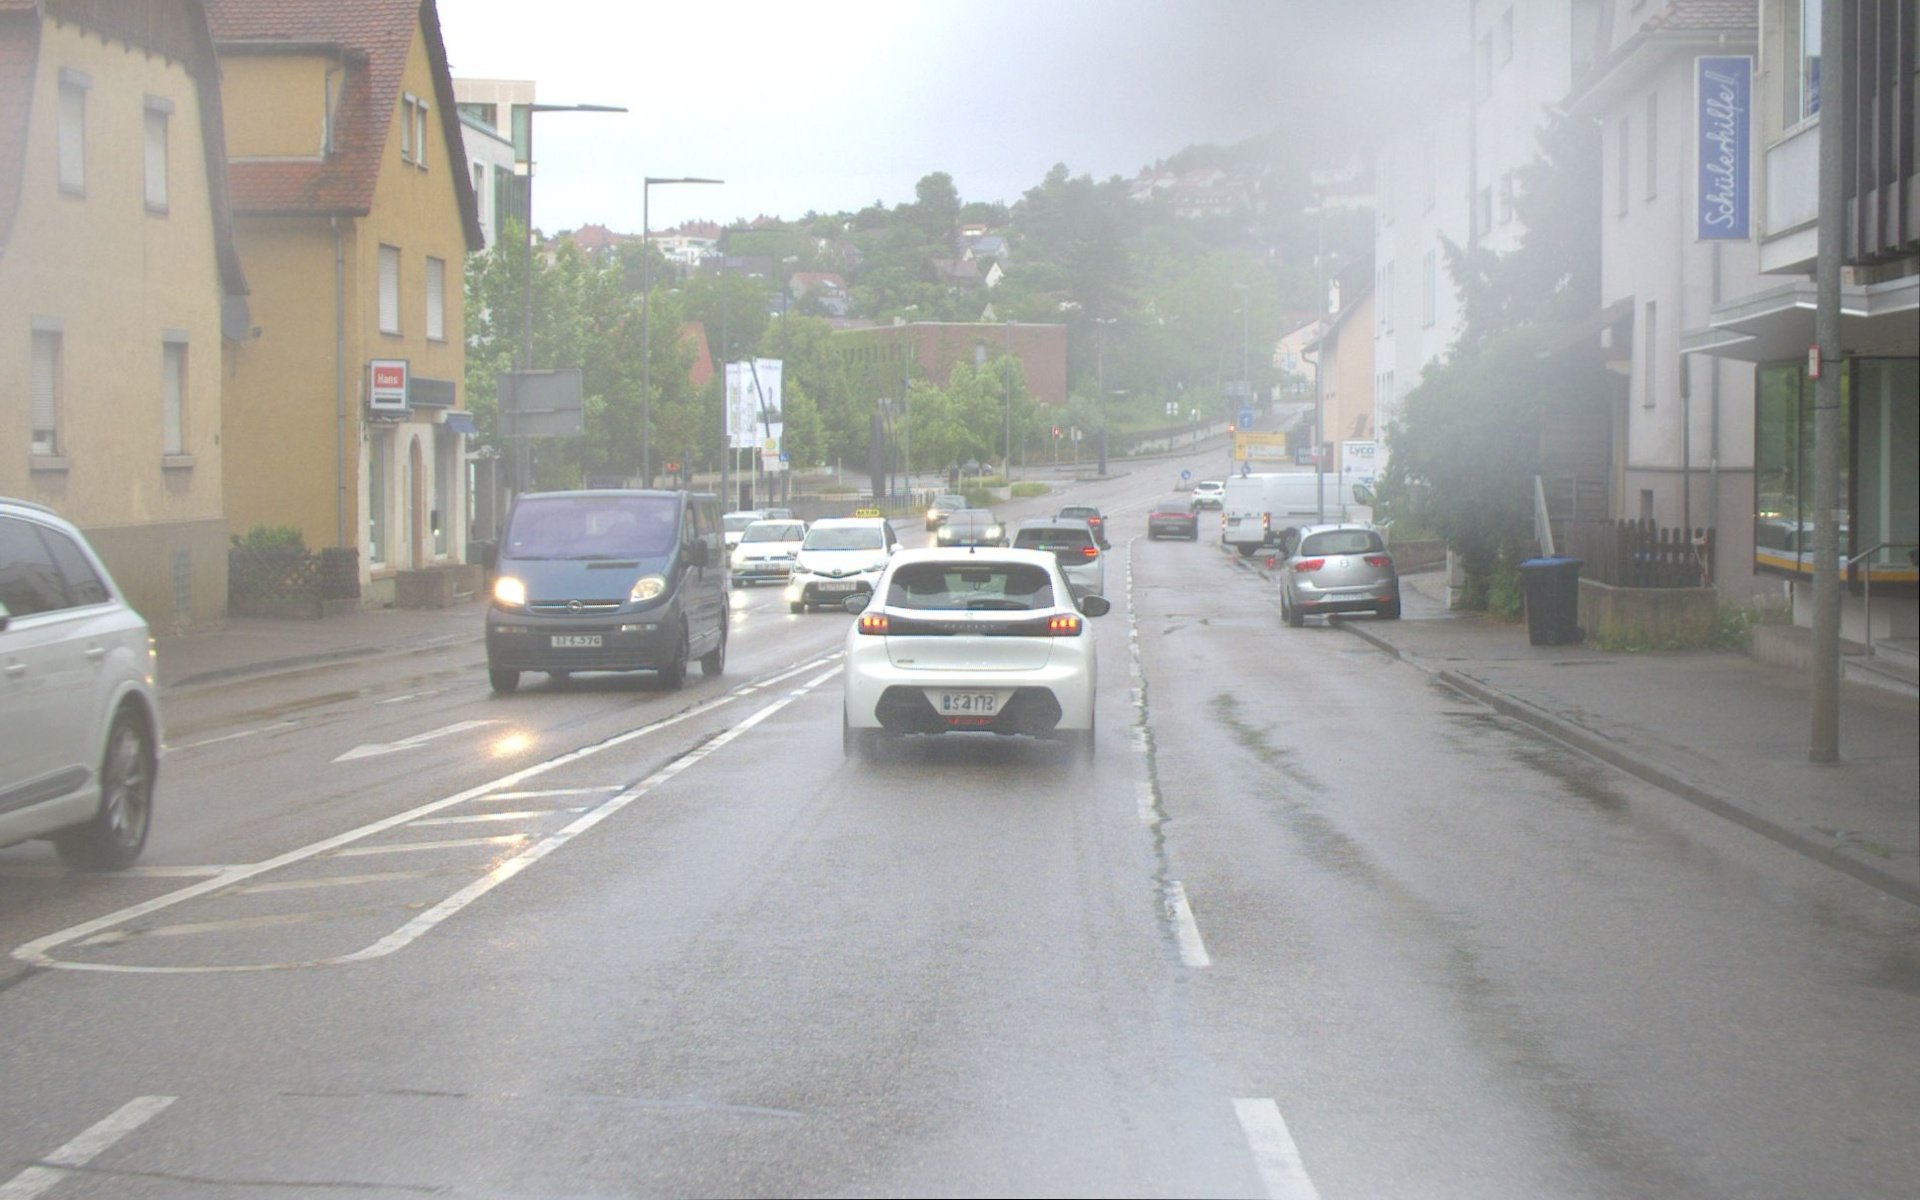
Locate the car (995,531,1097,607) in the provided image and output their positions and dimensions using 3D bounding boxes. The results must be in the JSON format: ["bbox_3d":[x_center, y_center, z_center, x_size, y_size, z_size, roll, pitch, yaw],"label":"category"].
[{"bbox_3d":[1.558,-0.570,61.181,1.741,1.291,3.334,0,1,3],"label":"car"}]

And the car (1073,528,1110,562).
[{"bbox_3d":[4.629,-1.938,121.070,1.213,1.152,2.270,0,0,1],"label":"car"}]

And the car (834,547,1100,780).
[{"bbox_3d":[0.123,0.407,24.321,1.691,1.514,3.932,0,0,3],"label":"car"}]

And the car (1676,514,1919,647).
[{"bbox_3d":[10.353,-0.244,41.558,1.351,1.497,3.340,-4,2,-31],"label":"car"}]

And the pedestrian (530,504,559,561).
[{"bbox_3d":[-12.597,-2.043,104.257,0.808,1.732,1.003,0,0,-2],"label":"pedestrian"}]

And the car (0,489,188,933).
[{"bbox_3d":[-4.735,0.431,13.868,2.098,1.706,4.849,0,0,1],"label":"car"}]

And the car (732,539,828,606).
[{"bbox_3d":[-4.034,-0.620,77.707,1.649,1.413,4.138,-2,0,4],"label":"car"}]

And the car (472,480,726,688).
[{"bbox_3d":[-3.550,-0.161,34.701,1.965,1.931,5.179,0,0,1],"label":"car"}]

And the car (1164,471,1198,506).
[{"bbox_3d":[13.252,-6.675,206.636,1.994,2.007,4.000,0,0,3],"label":"car"}]

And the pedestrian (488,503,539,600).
[{"bbox_3d":[-8.267,-0.890,63.679,0.800,1.782,0.882,0,0,2],"label":"pedestrian"}]

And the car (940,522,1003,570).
[{"bbox_3d":[0.378,-1.657,106.295,1.768,1.409,4.525,0,0,2],"label":"car"}]

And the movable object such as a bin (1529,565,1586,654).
[{"bbox_3d":[7.336,0.117,42.227,0.576,1.044,0.830,-1,2,3],"label":"movable object such as a bin"}]

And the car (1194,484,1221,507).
[{"bbox_3d":[12.988,-5.474,180.598,1.385,1.122,2.610,0,0,3],"label":"car"}]

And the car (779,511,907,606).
[{"bbox_3d":[-1.997,-0.711,60.059,1.878,1.603,4.718,0,0,2],"label":"car"}]

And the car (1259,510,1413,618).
[{"bbox_3d":[5.997,-0.545,55.220,2.011,1.616,4.360,1,-1,1],"label":"car"}]

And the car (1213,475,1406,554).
[{"bbox_3d":[10.901,-2.620,106.824,2.297,2.374,6.608,0,0,45],"label":"car"}]

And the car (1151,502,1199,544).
[{"bbox_3d":[8.406,-3.025,134.772,1.734,1.383,3.353,1,5,2],"label":"car"}]
